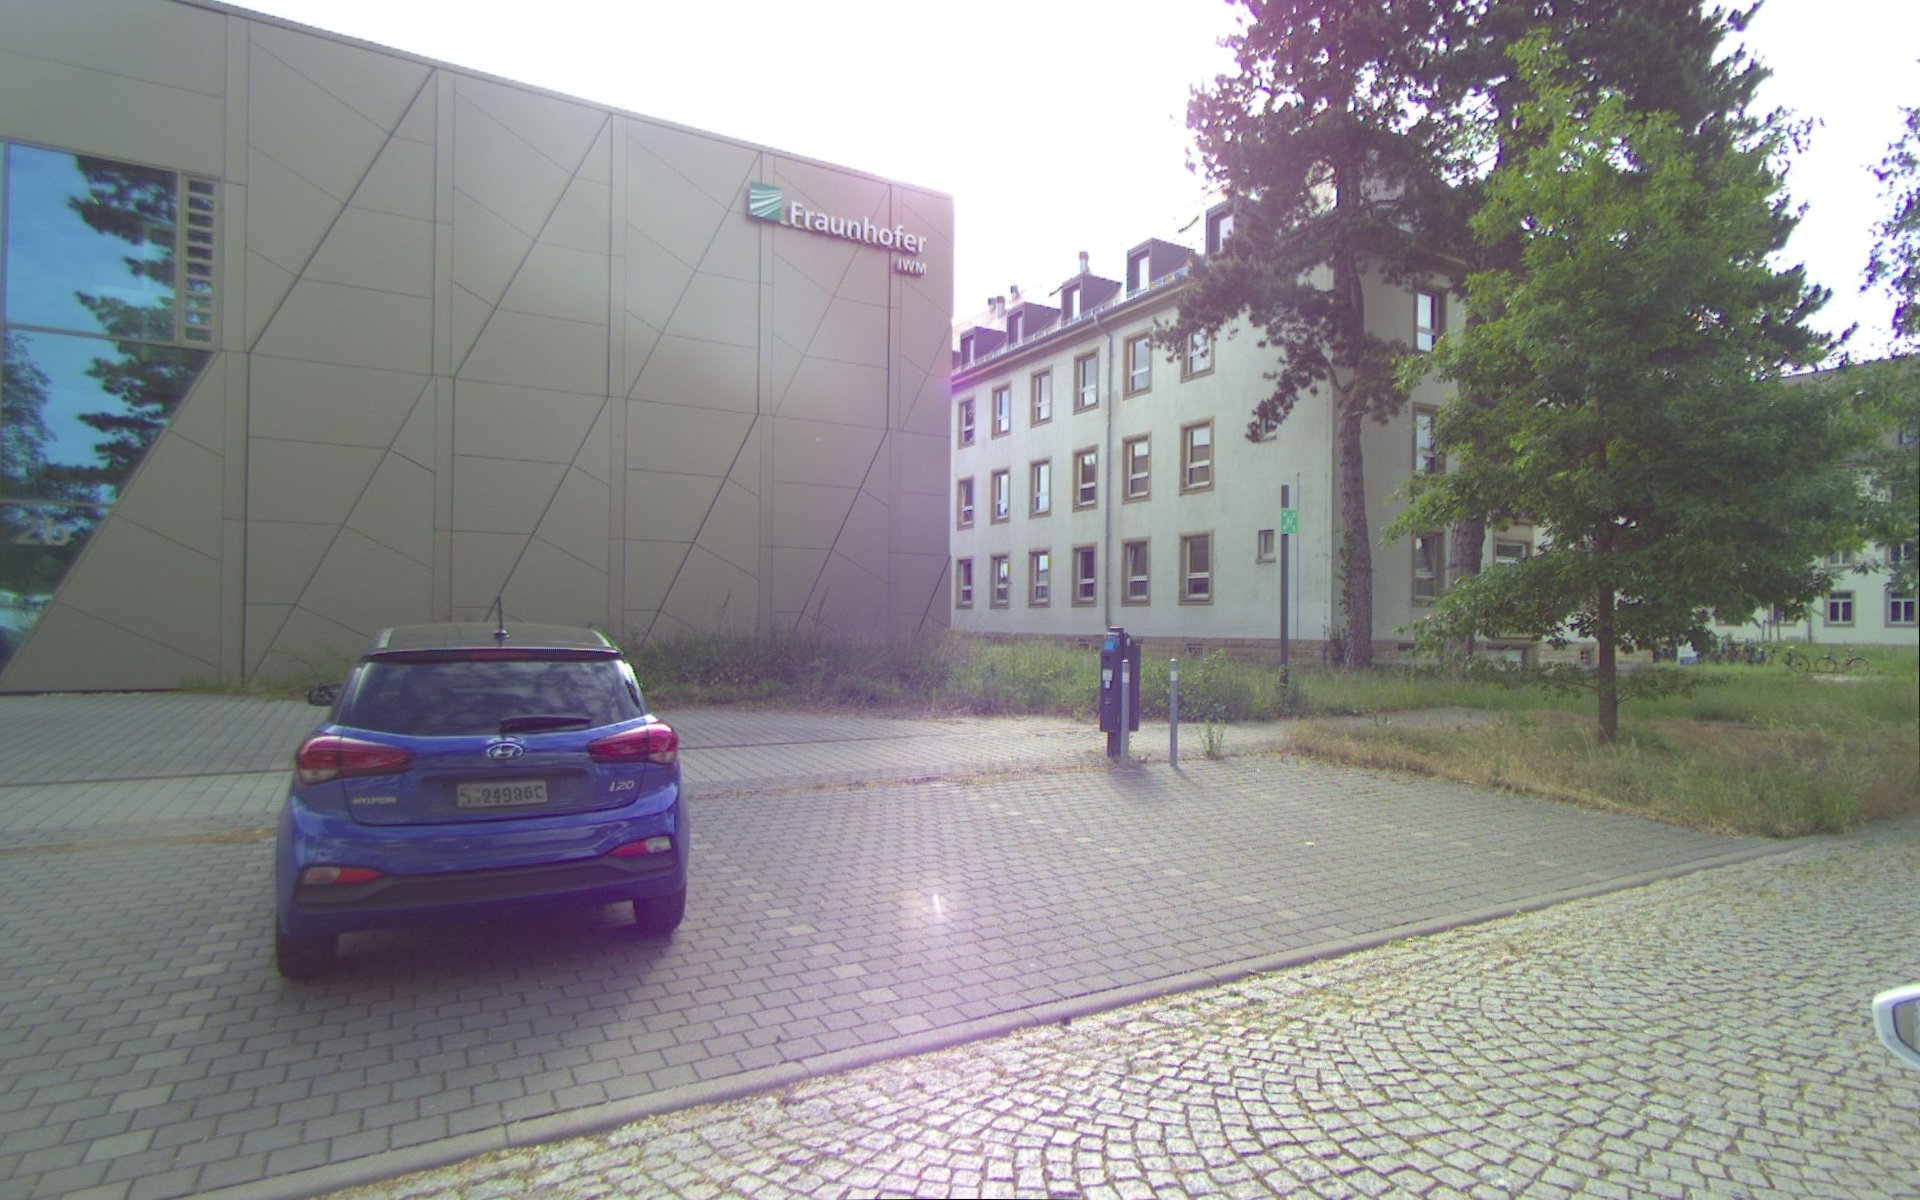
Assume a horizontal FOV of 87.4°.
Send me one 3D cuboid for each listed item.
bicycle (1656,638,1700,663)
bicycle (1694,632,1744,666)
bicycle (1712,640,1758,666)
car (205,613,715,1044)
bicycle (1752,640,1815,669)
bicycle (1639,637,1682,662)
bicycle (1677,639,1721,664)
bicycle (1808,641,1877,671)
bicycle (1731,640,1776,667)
[{"bbox_3d":[31.917,2.238,44.661,2.246,1.090,0.732,1,-1,-30],"label":"bicycle"},{"bbox_3d":[32.943,2.119,43.592,2.679,1.404,0.732,1,-1,-30],"label":"bicycle"},{"bbox_3d":[32.998,2.250,42.762,2.246,1.090,0.732,1,-1,-30],"label":"bicycle"},{"bbox_3d":[-2.757,0.872,5.759,1.828,1.497,3.752,1,0,-27],"label":"car"},{"bbox_3d":[33.029,2.175,40.317,0.729,1.090,1.849,1,-2,-27],"label":"bicycle"},{"bbox_3d":[31.625,2.248,45.336,2.246,1.090,0.732,1,-1,-30],"label":"bicycle"},{"bbox_3d":[32.649,2.267,44.344,2.246,1.090,0.732,1,-1,-30],"label":"bicycle"},{"bbox_3d":[33.973,2.131,38.690,0.821,1.090,1.849,1,-2,-27],"label":"bicycle"},{"bbox_3d":[33.376,2.236,42.243,2.246,1.090,0.732,1,-1,-30],"label":"bicycle"}]
